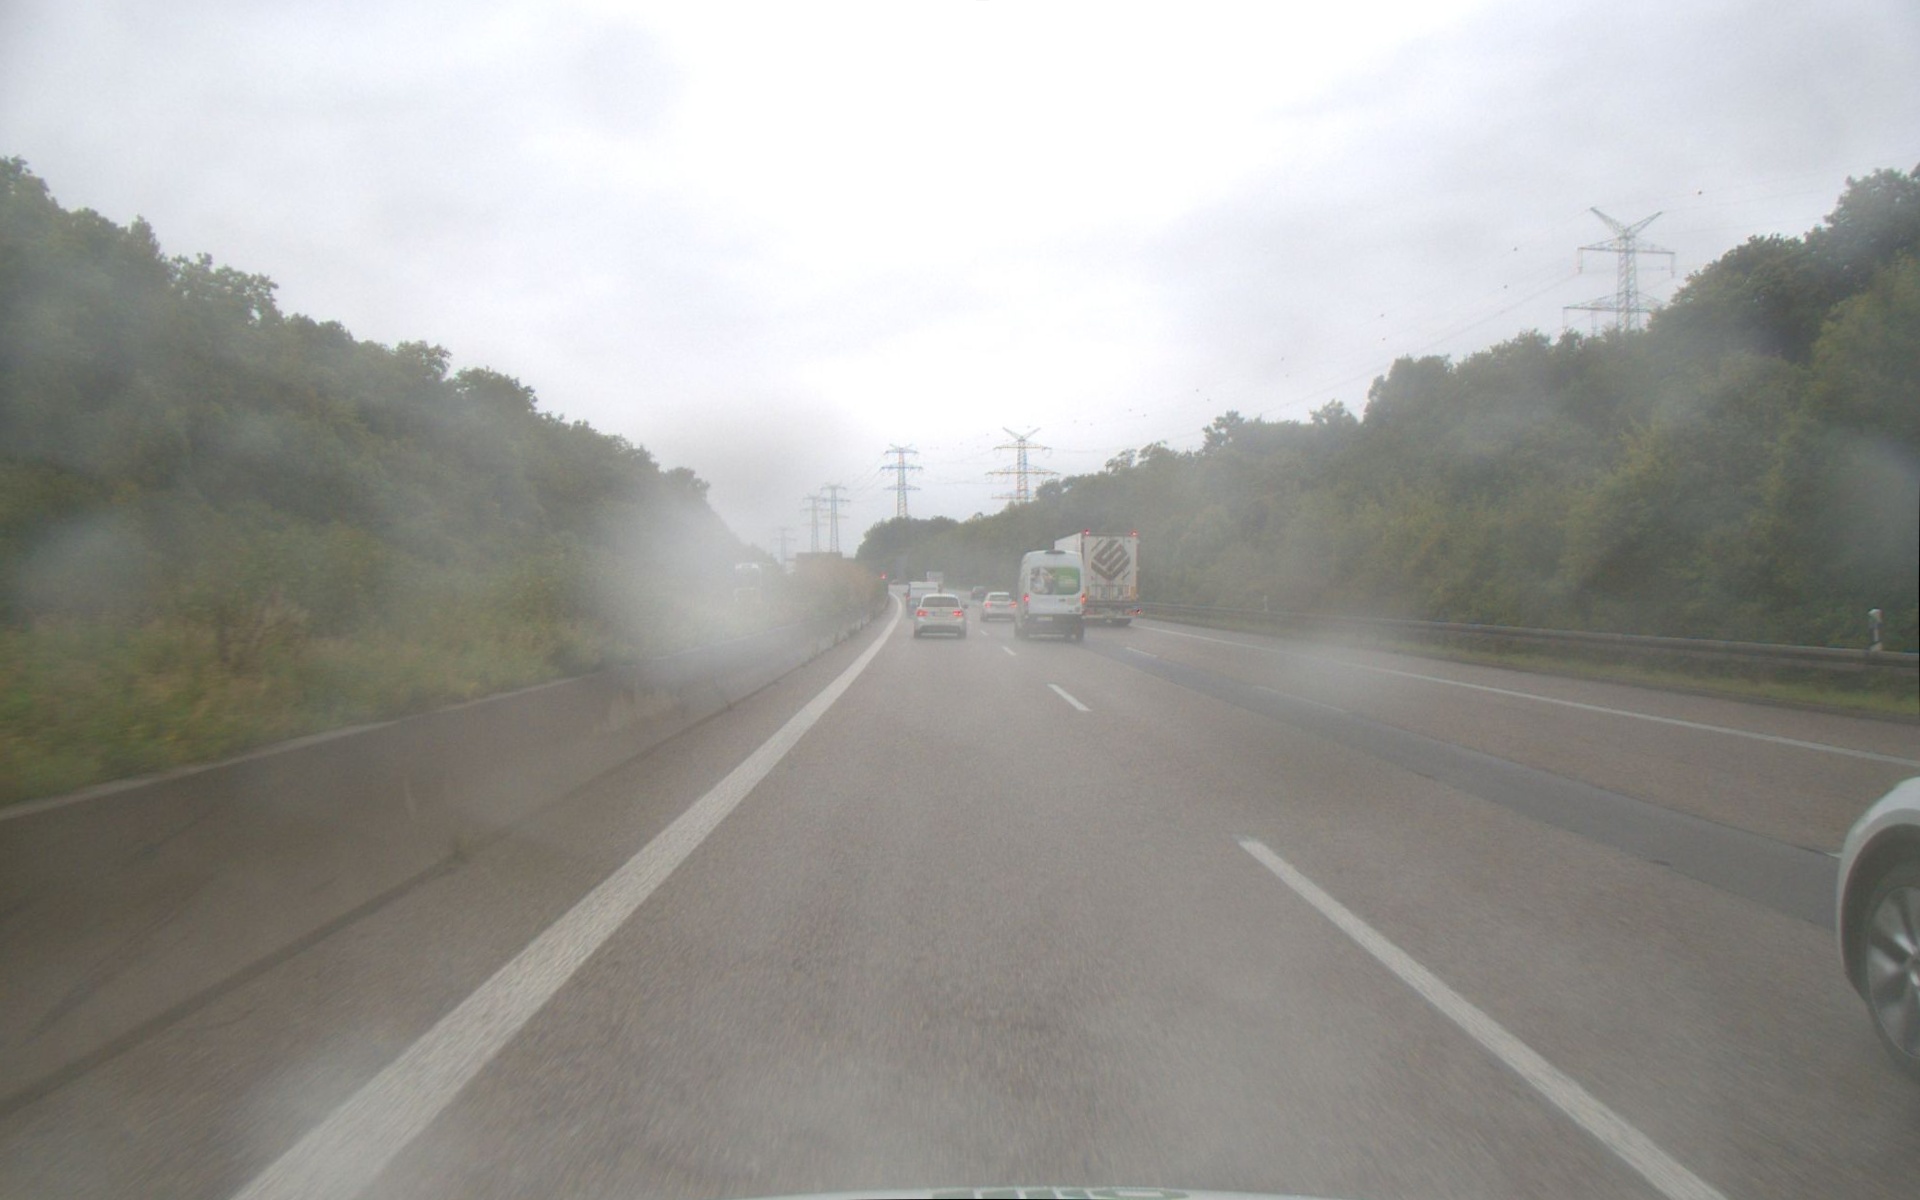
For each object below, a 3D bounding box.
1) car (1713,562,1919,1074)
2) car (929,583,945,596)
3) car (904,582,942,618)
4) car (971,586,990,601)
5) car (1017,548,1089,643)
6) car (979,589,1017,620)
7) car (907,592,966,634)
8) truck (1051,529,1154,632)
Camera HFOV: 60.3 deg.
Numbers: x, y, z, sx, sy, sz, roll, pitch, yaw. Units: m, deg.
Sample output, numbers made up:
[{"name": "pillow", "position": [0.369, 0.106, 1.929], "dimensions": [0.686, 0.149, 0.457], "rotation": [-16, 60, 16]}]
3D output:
[{"name": "car", "position": [3.953, 0.695, 4.029], "dimensions": [1.823, 1.595, 4.962], "rotation": [1, 0, -2]}, {"name": "car", "position": [-3.040, -1.378, 218.685], "dimensions": [1.952, 1.601, 4.000], "rotation": [-1, -1, 1]}, {"name": "car", "position": [-1.917, -0.017, 86.451], "dimensions": [1.808, 1.803, 4.000], "rotation": [-1, 0, 1]}, {"name": "car", "position": [2.195, -0.742, 180.579], "dimensions": [1.953, 1.512, 4.000], "rotation": [-2, 0, 0]}, {"name": "car", "position": [2.934, -0.153, 53.094], "dimensions": [1.953, 2.914, 3.999], "rotation": [-1, 0, -1]}, {"name": "car", "position": [1.886, 0.187, 80.973], "dimensions": [1.818, 1.447, 4.001], "rotation": [0, 0, 1]}, {"name": "car", "position": [-0.730, 0.396, 54.789], "dimensions": [1.828, 1.310, 4.000], "rotation": [-1, 0, 1]}, {"name": "truck", "position": [6.510, -0.852, 77.831], "dimensions": [3.530, 4.408, 13.197], "rotation": [0, 0, -1]}]
